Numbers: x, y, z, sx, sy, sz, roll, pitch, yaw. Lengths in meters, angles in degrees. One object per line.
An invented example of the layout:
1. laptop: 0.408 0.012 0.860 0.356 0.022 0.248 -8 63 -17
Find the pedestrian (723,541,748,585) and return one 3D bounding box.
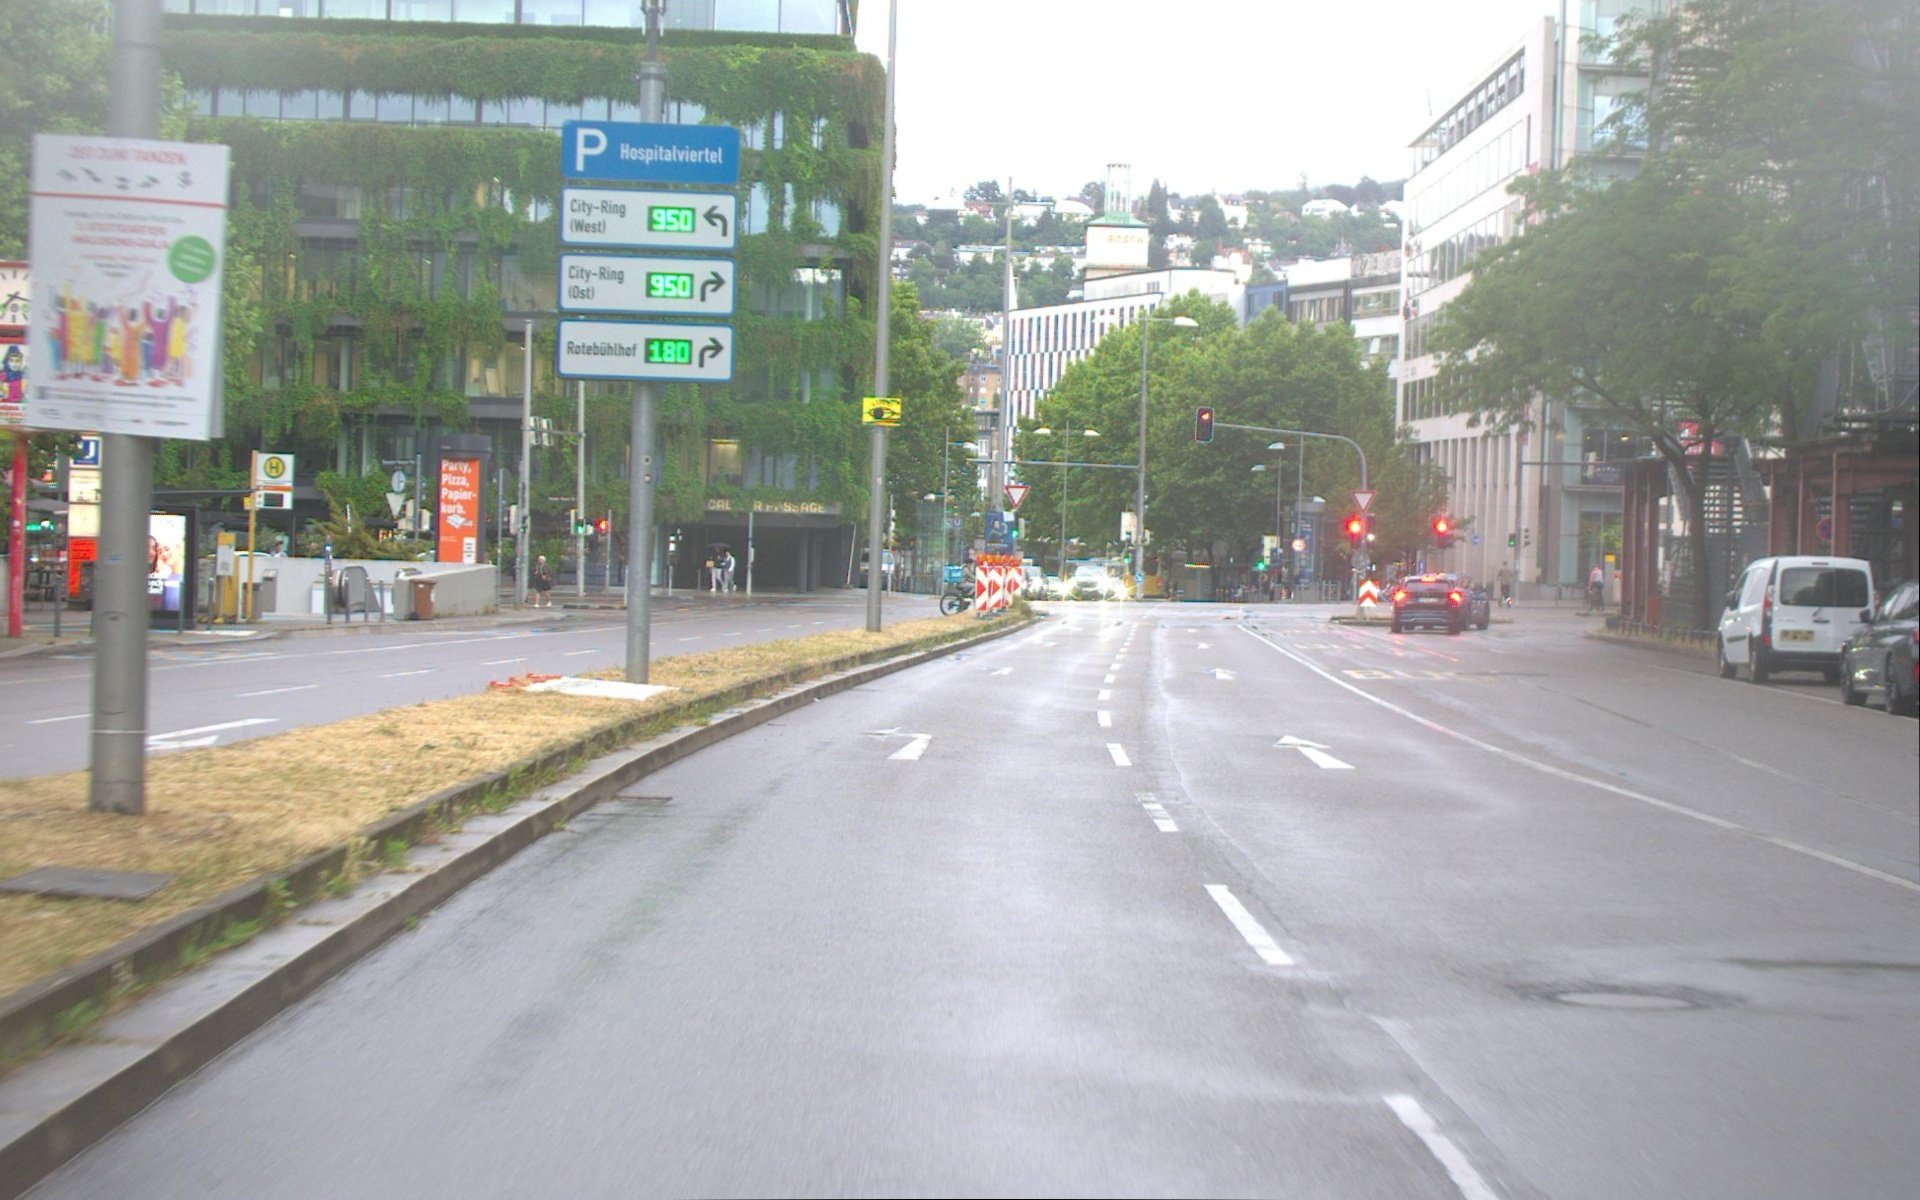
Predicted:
1. pedestrian: -9.088 -1.511 139.131 0.741 1.752 0.976 1 1 -20

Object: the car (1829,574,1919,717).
1. car: 10.868 0.467 37.654 1.869 1.432 4.920 1 1 6

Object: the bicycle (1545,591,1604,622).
1. bicycle: 23.375 0.245 130.833 0.791 1.113 2.255 1 1 -37

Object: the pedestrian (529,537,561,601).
1. pedestrian: -12.639 -0.946 104.775 0.805 1.879 0.866 -3 1 -3

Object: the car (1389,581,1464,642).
1. car: 12.305 0.289 90.892 1.779 1.534 4.146 1 1 6

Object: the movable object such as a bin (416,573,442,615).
1. movable object such as a bin: -11.608 -0.136 75.138 0.531 0.894 0.682 0 1 -6

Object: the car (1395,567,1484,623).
1. car: 13.709 -0.153 98.117 1.705 1.524 4.422 1 1 19

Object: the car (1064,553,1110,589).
1. car: 5.670 -1.284 153.045 1.994 1.545 4.555 1 1 3

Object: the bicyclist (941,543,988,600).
1. bicyclist: 0.143 -0.860 103.925 0.847 1.698 1.296 1 1 33

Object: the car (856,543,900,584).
1. car: -3.889 -1.749 163.659 1.993 1.888 4.465 1 1 -1

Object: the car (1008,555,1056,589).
1. car: 3.317 -1.303 159.176 1.856 1.443 4.621 1 1 -3

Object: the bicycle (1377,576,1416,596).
1. bicycle: 20.874 -0.671 164.448 1.795 0.931 0.475 1 1 7

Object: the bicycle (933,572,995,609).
1. bicycle: 0.127 -0.283 103.962 0.847 1.099 2.148 1 1 32

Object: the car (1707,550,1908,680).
1. car: 12.095 0.176 49.346 1.994 1.744 4.526 1 1 4

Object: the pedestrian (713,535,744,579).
1. pedestrian: -9.373 -1.747 138.919 0.935 1.752 1.172 1 1 -20

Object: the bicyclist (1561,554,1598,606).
1. bicyclist: 23.533 -0.762 130.637 0.791 1.968 1.114 1 1 -36

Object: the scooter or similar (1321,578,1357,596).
1. scooter or similar: 19.143 -0.670 173.750 1.745 0.875 0.489 1 0 -15
